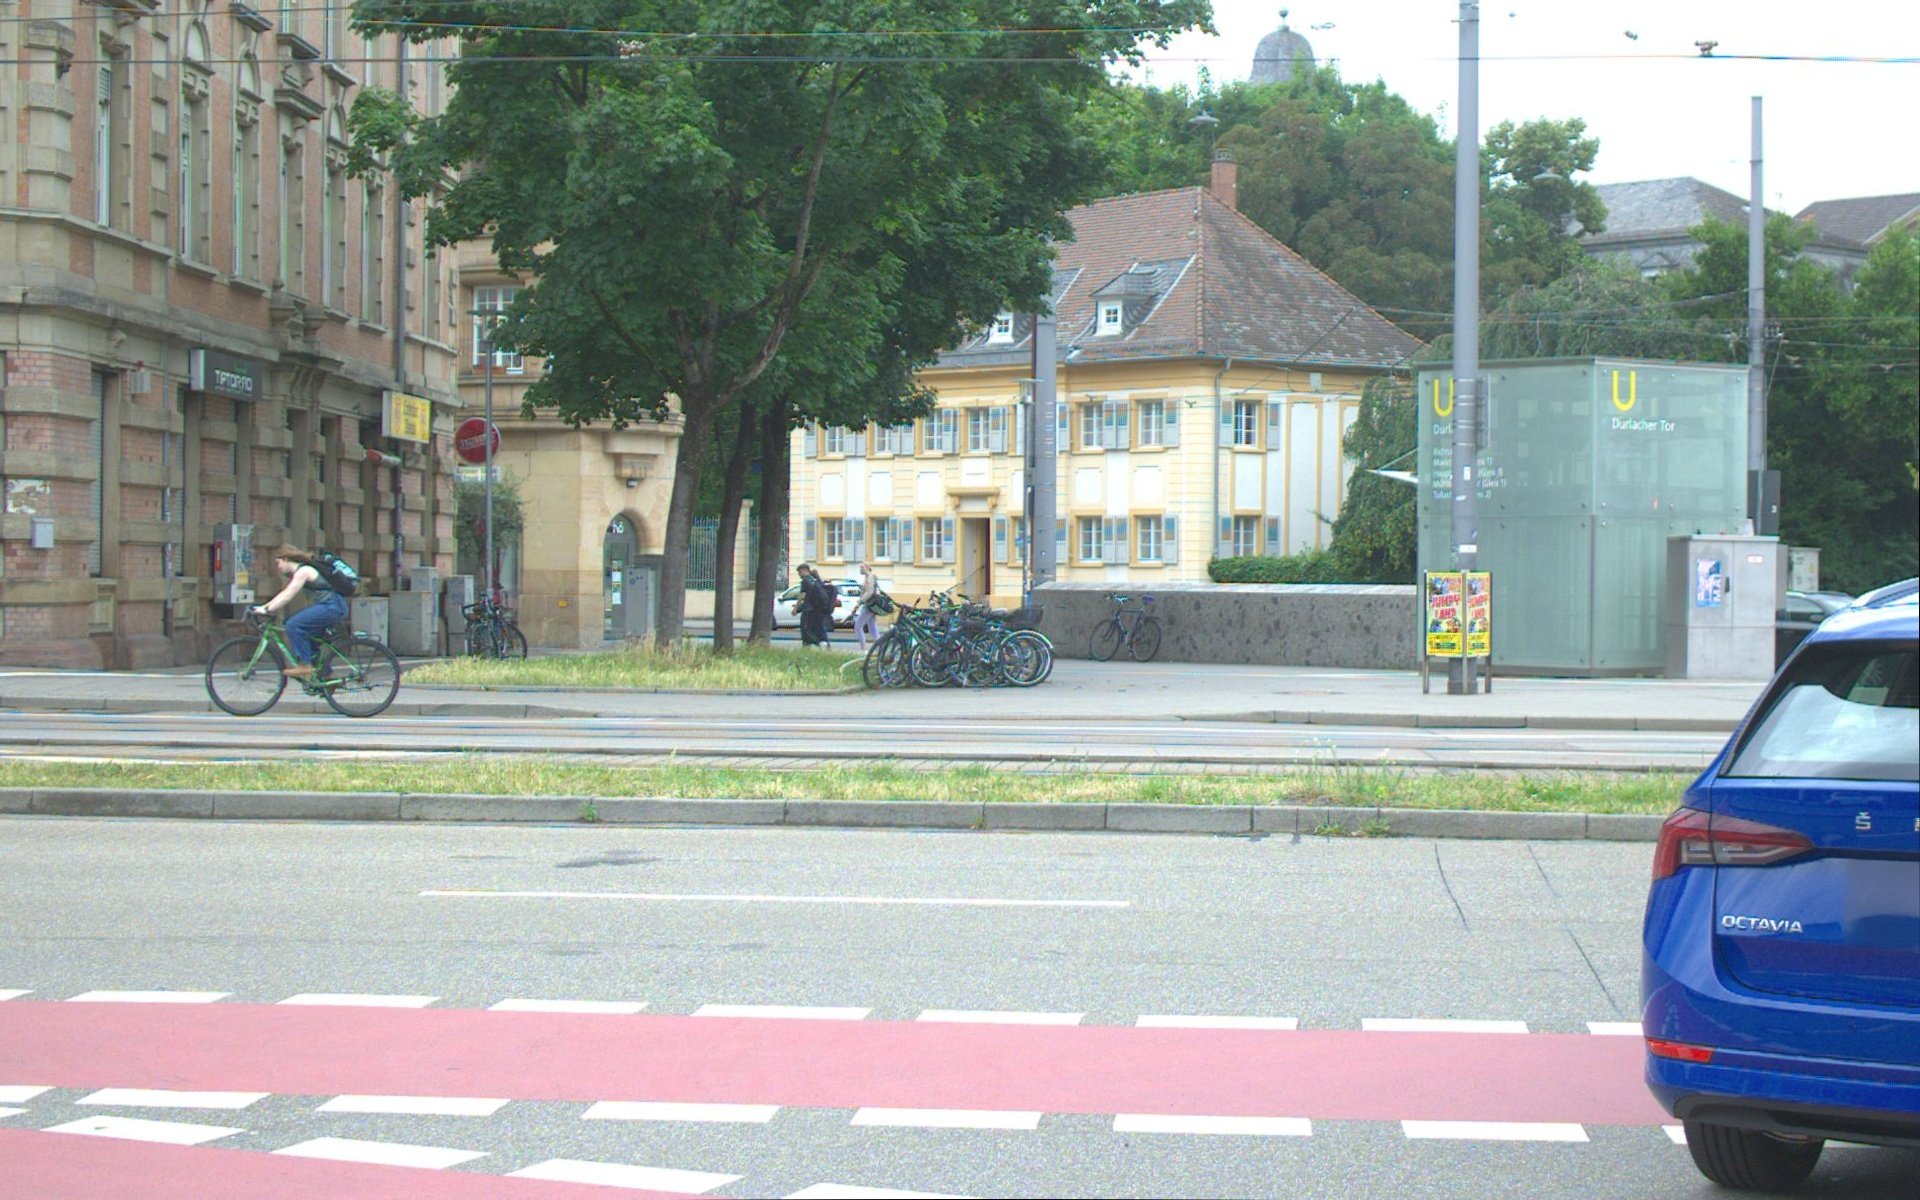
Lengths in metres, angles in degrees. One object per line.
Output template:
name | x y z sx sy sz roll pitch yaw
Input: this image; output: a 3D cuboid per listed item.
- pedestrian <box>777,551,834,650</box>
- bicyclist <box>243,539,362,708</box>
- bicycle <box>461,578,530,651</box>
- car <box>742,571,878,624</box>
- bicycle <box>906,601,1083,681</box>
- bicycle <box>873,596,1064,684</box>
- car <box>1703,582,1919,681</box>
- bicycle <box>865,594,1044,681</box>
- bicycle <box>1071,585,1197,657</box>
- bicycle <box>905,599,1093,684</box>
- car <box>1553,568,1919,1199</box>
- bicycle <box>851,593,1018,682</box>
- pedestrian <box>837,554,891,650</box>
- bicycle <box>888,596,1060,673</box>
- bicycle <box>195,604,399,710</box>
pedestrian | -2.724 0.004 60.565 0.844 1.716 0.952 1 1 6
bicyclist | -5.899 0.204 30.864 0.939 1.489 0.663 1 1 0
bicycle | -6.069 0.183 45.013 0.660 0.911 1.990 1 1 -1
car | -4.339 -0.087 98.763 1.692 1.444 4.186 0 1 -40
bicycle | 0.453 0.524 44.627 2.215 0.983 0.585 1 1 13
bicycle | 0.102 0.470 40.987 2.215 1.002 0.480 1 1 13
car | 13.823 0.472 54.243 1.691 1.444 4.143 0 1 -32
bicycle | -0.061 0.436 40.444 2.032 0.983 0.521 1 1 13
bicycle | 2.783 0.327 55.281 0.738 1.111 2.363 0 1 -34
bicycle | 0.474 0.499 41.700 2.215 0.983 0.500 1 1 13
car | 3.109 0.697 8.605 1.782 1.483 4.458 1 1 30
bicycle | -0.294 0.429 39.719 1.864 0.983 0.500 1 0 12
pedestrian | -1.739 0.023 62.514 0.844 1.716 0.952 1 1 6
bicycle | 0.191 0.459 45.833 2.215 0.983 0.585 1 1 13
bicycle | -5.944 0.507 30.869 1.714 0.912 0.608 1 1 -1
